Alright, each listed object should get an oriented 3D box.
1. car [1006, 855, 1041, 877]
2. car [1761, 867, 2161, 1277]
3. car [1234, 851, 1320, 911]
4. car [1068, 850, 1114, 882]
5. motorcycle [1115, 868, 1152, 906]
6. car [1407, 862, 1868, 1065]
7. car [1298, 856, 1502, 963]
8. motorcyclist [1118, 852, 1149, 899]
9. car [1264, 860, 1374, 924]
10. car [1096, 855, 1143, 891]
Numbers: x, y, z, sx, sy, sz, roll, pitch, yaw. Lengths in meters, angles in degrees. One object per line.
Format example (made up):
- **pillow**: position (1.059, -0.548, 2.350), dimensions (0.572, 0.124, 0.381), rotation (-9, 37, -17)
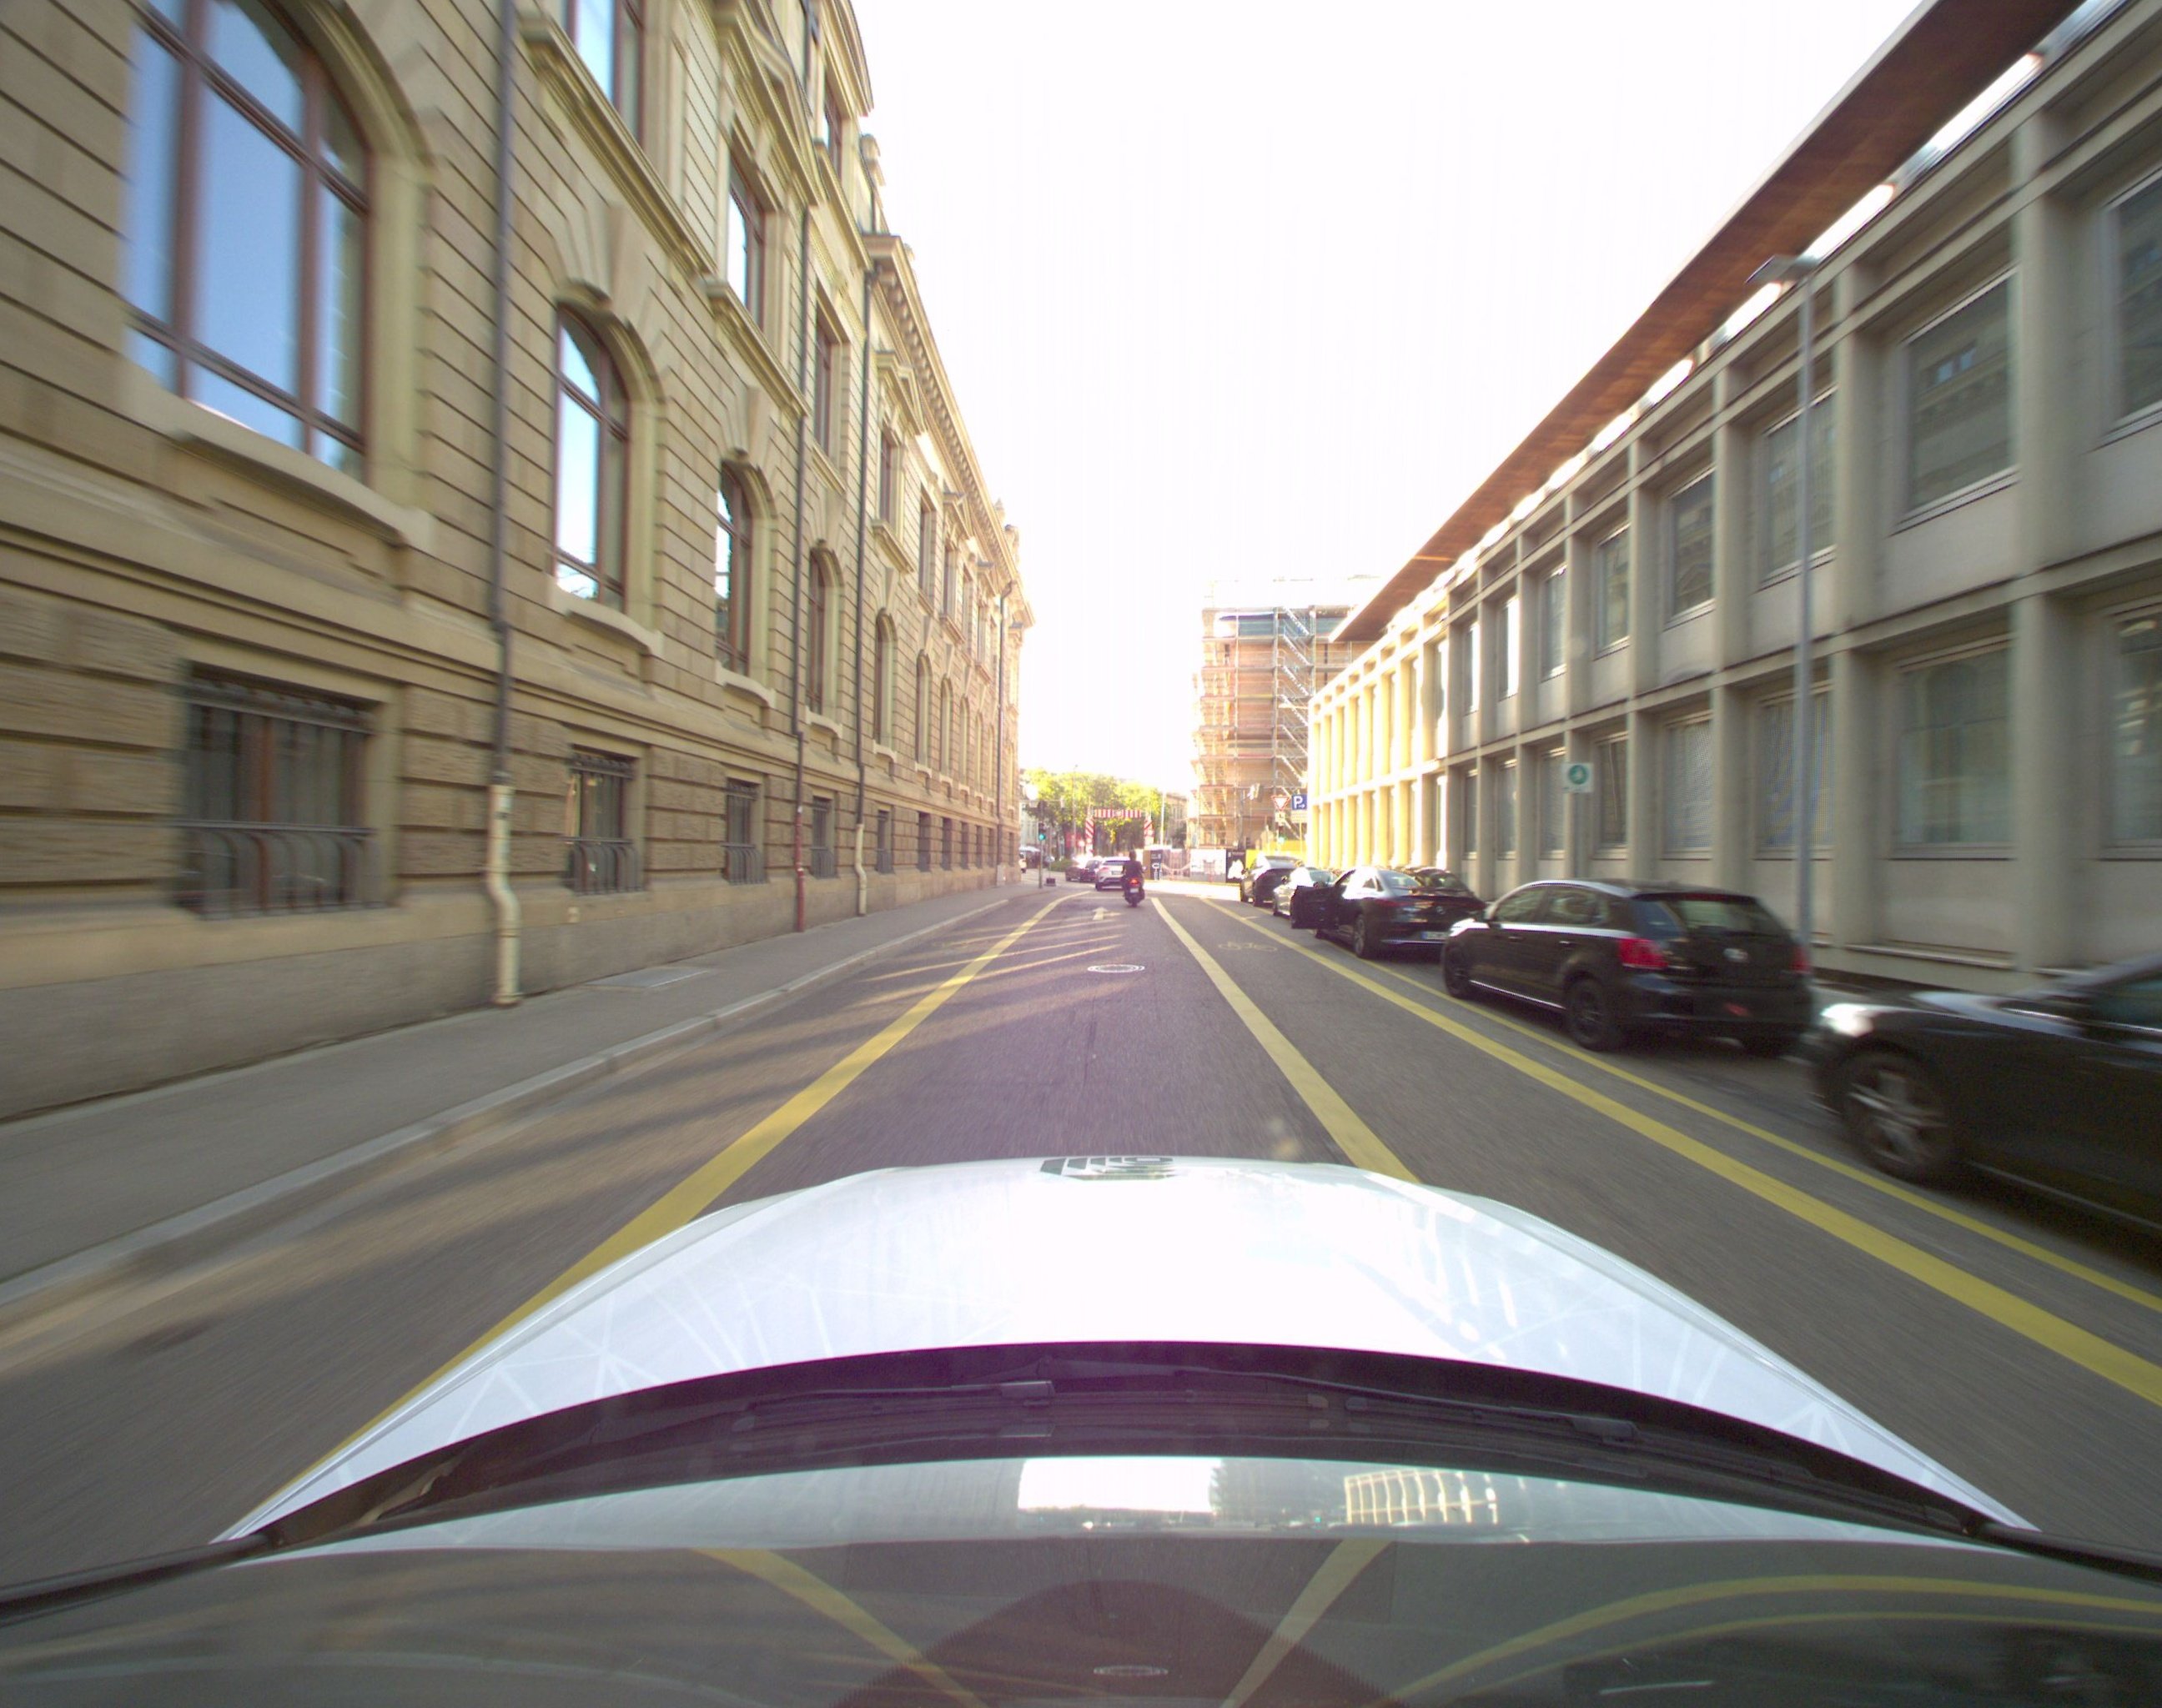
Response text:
- **car**: position (-4.860, 0.983, 68.307), dimensions (1.998, 1.664, 4.334), rotation (-3, 1, -16)
- **car**: position (4.883, 0.846, 2.682), dimensions (1.776, 1.479, 4.290), rotation (2, 0, 2)
- **car**: position (6.342, 0.809, 26.896), dimensions (1.818, 1.699, 4.669), rotation (2, 1, 2)
- **car**: position (0.536, 0.730, 49.528), dimensions (1.833, 1.838, 3.980), rotation (0, -1, -15)
- **motorcycle**: position (1.584, 0.971, 24.792), dimensions (0.871, 1.109, 1.837), rotation (0, -1, -4)
- **car**: position (5.085, 0.867, 8.312), dimensions (1.775, 1.479, 4.287), rotation (2, -1, 0)
- **car**: position (5.271, 0.833, 14.209), dimensions (1.818, 1.501, 4.738), rotation (2, -1, 2)
- **motorcyclist**: position (1.589, 0.650, 24.802), dimensions (0.865, 1.427, 0.455), rotation (0, -1, -5)
- **car**: position (5.912, 0.914, 20.745), dimensions (1.816, 1.399, 4.485), rotation (2, -1, 5)
- **car**: position (1.826, 0.828, 37.330), dimensions (1.813, 1.541, 4.272), rotation (1, 0, 7)
